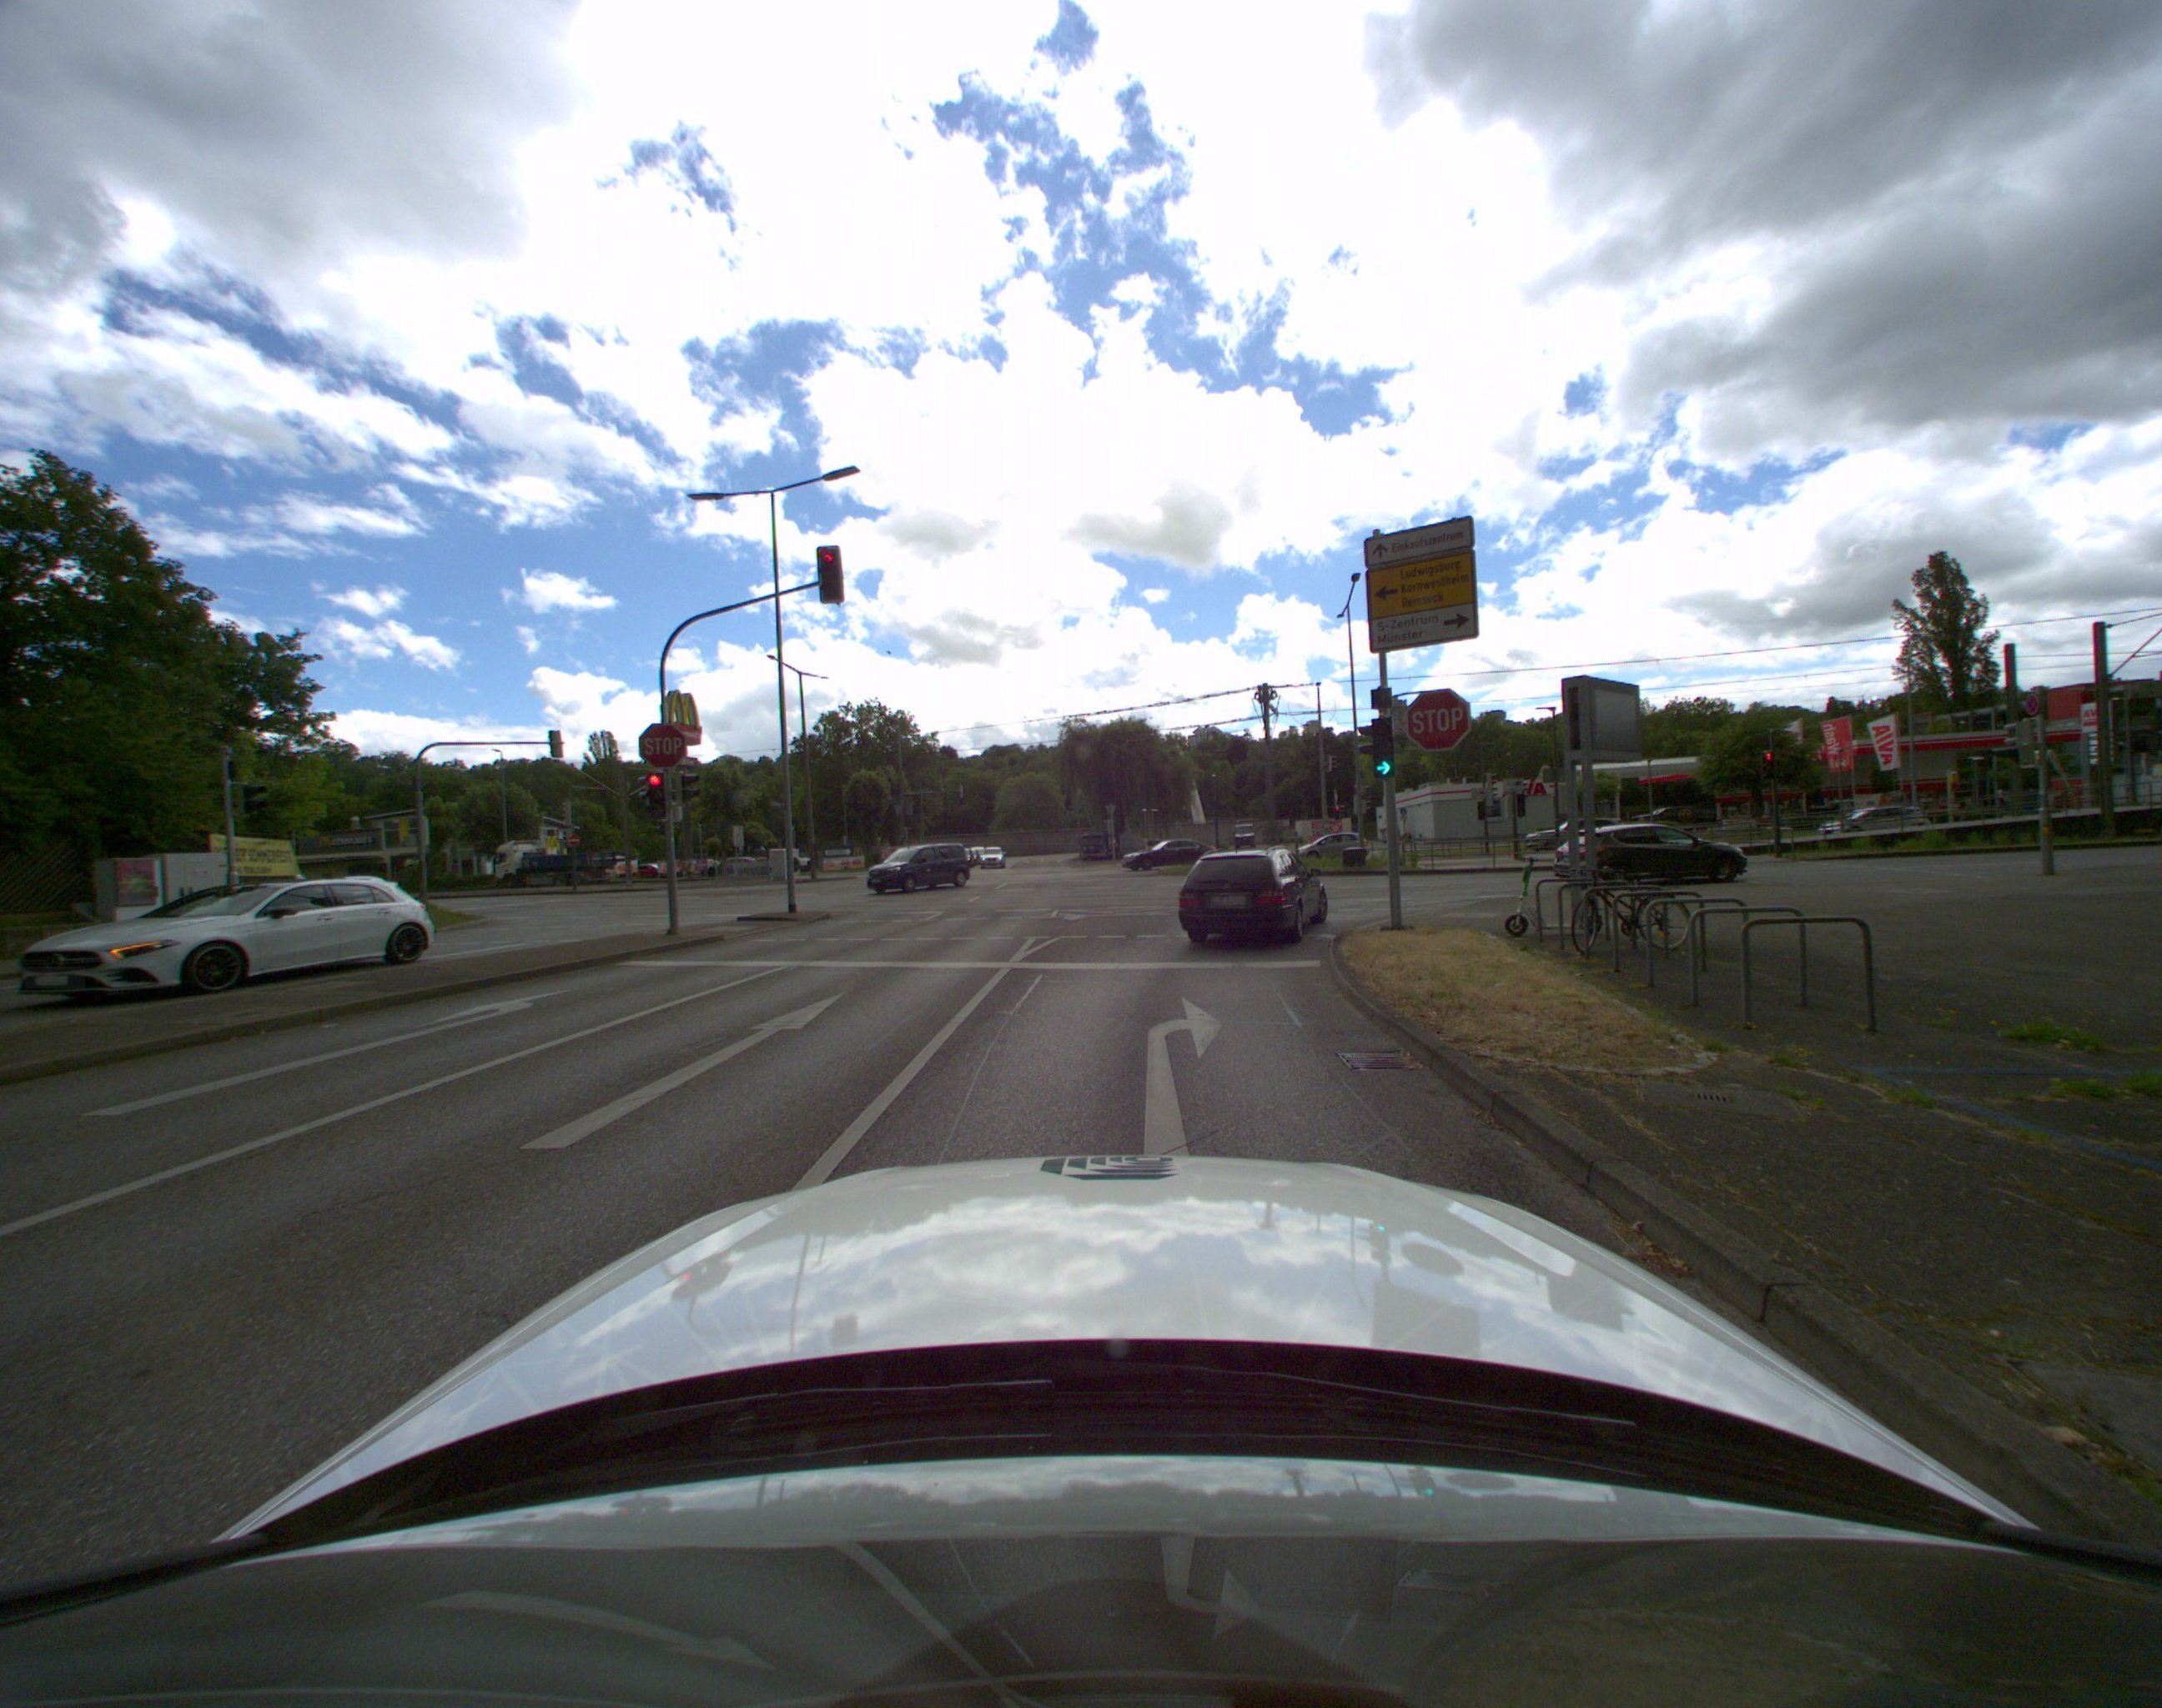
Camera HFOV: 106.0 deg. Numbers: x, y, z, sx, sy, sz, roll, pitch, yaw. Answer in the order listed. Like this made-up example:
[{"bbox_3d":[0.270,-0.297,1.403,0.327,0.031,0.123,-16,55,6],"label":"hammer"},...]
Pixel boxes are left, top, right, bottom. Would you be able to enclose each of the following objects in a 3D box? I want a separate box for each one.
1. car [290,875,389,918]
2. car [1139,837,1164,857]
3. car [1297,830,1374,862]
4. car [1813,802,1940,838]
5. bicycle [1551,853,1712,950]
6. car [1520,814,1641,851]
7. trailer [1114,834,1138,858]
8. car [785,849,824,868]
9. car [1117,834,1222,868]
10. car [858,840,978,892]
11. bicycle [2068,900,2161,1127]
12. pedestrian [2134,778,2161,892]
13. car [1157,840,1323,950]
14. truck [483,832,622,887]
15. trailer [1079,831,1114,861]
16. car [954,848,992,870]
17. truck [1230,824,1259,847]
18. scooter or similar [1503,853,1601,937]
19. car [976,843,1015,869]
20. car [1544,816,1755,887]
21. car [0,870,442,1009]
[{"bbox_3d":[-30.394,1.744,33.388,2.992,1.574,1.675,-2,1,18],"label":"car"},{"bbox_3d":[6.775,-0.698,77.954,1.981,1.749,4.012,-2,1,10],"label":"car"},{"bbox_3d":[13.528,-0.414,43.489,3.745,1.508,1.710,-2,1,11],"label":"car"},{"bbox_3d":[38.080,-1.611,39.102,3.998,1.530,1.727,-2,1,15],"label":"car"},{"bbox_3d":[6.926,0.591,10.285,1.682,1.110,0.480,-2,2,2],"label":"bicycle"},{"bbox_3d":[25.381,-1.070,41.566,4.886,1.600,2.024,-2,1,16],"label":"car"},{"bbox_3d":[4.379,-0.737,78.881,1.983,2.184,4.007,-3,0,6],"label":"trailer"},{"bbox_3d":[-33.565,0.568,99.098,3.978,2.013,1.998,-3,0,-3],"label":"car"},{"bbox_3d":[4.543,-0.168,41.998,5.063,1.523,1.734,-3,1,-17],"label":"car"},{"bbox_3d":[-6.308,0.432,31.975,1.586,1.774,4.588,-2,1,39],"label":"car"},{"bbox_3d":[6.317,0.794,4.167,1.771,1.111,0.554,-2,0,2],"label":"bicycle"},{"bbox_3d":[17.535,-0.320,12.952,0.689,1.819,0.771,-3,1,-20],"label":"pedestrian"},{"bbox_3d":[2.942,0.583,14.135,1.806,1.509,4.600,-2,1,24],"label":"car"},{"bbox_3d":[-40.604,0.397,62.632,9.040,3.587,3.230,-3,0,11],"label":"truck"},{"bbox_3d":[1.512,-0.753,76.917,2.337,2.582,4.934,-3,0,10],"label":"trailer"},{"bbox_3d":[-9.037,0.364,68.681,1.981,1.640,4.012,-3,1,10],"label":"car"},{"bbox_3d":[16.156,-1.779,80.768,2.223,2.013,5.250,-3,0,6],"label":"truck"},{"bbox_3d":[6.840,0.591,11.859,1.174,1.169,0.295,-2,0,10],"label":"scooter or similar"},{"bbox_3d":[-6.859,0.140,65.785,1.981,1.859,4.012,-2,1,10],"label":"car"},{"bbox_3d":[14.091,-0.075,20.303,4.127,1.530,1.730,-3,1,-4],"label":"car"},{"bbox_3d":[-11.666,1.037,11.593,1.594,1.405,4.294,-3,1,2],"label":"car"}]
